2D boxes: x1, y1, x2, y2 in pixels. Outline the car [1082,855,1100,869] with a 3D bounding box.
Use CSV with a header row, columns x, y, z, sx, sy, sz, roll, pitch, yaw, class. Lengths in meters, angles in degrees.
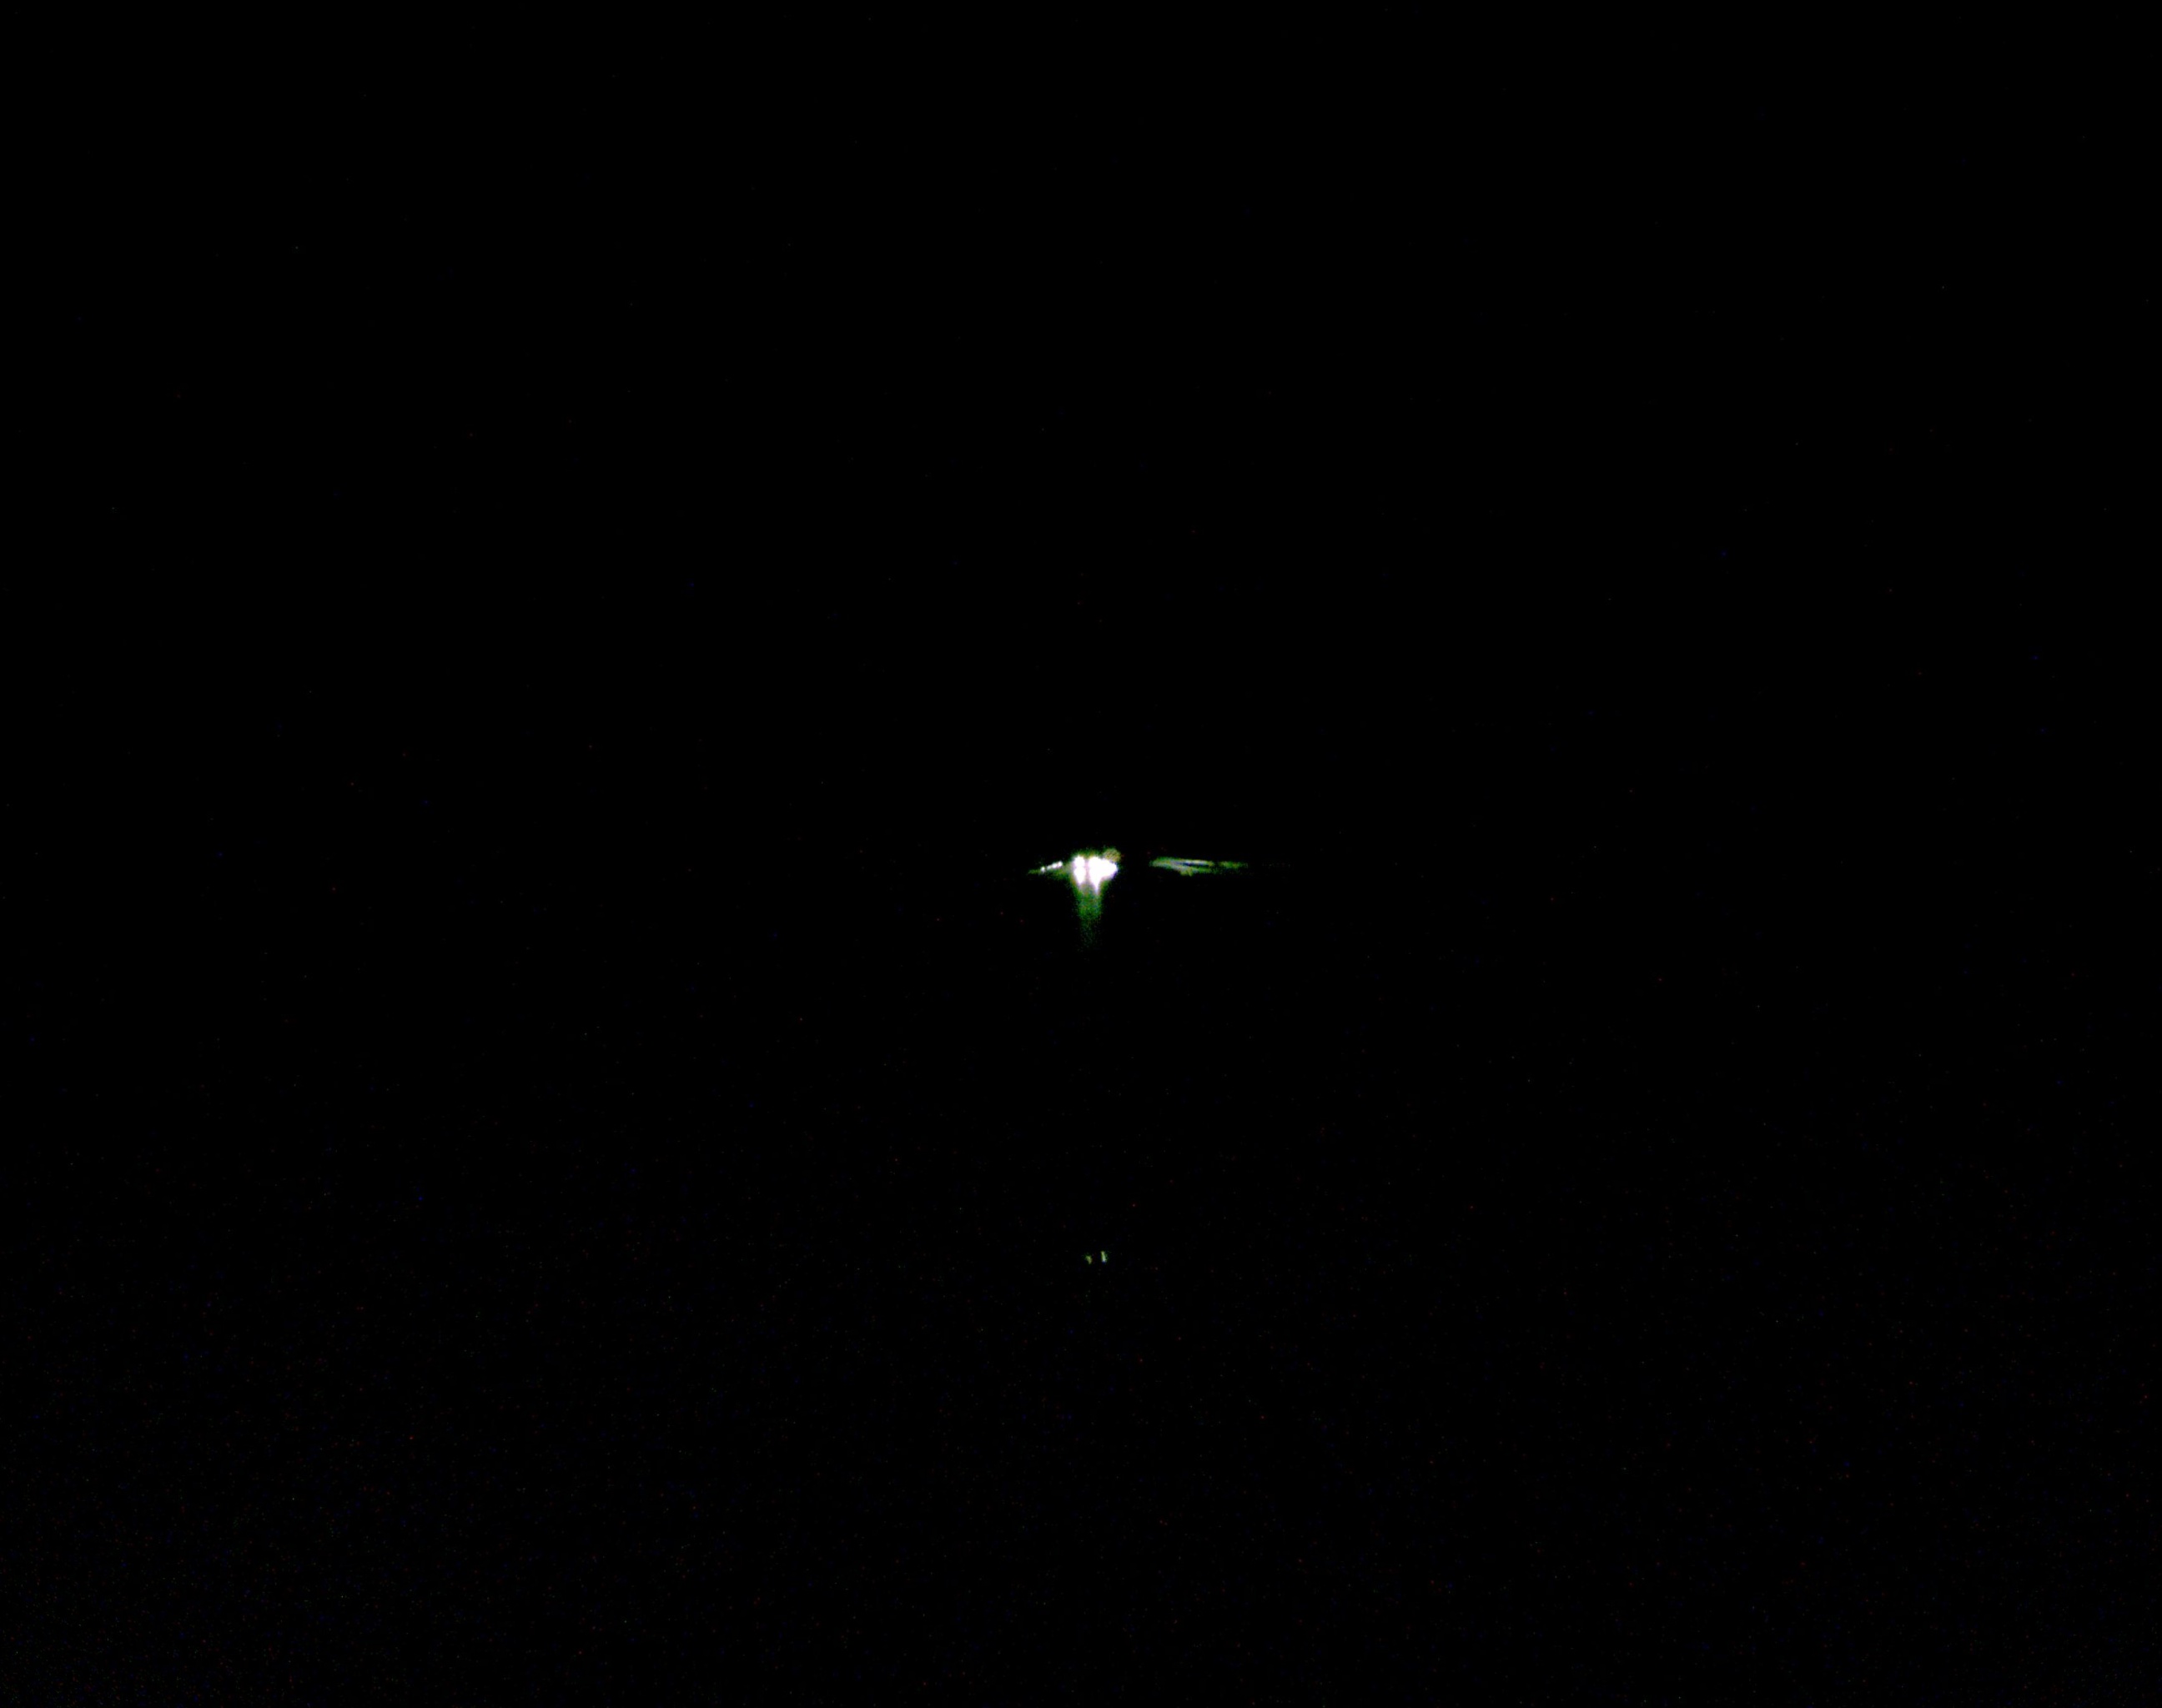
x,y,z,sx,sy,sz,roll,pitch,yaw,class
1.106,0.907,83.515,1.807,1.452,4.276,-2,0,1,car
